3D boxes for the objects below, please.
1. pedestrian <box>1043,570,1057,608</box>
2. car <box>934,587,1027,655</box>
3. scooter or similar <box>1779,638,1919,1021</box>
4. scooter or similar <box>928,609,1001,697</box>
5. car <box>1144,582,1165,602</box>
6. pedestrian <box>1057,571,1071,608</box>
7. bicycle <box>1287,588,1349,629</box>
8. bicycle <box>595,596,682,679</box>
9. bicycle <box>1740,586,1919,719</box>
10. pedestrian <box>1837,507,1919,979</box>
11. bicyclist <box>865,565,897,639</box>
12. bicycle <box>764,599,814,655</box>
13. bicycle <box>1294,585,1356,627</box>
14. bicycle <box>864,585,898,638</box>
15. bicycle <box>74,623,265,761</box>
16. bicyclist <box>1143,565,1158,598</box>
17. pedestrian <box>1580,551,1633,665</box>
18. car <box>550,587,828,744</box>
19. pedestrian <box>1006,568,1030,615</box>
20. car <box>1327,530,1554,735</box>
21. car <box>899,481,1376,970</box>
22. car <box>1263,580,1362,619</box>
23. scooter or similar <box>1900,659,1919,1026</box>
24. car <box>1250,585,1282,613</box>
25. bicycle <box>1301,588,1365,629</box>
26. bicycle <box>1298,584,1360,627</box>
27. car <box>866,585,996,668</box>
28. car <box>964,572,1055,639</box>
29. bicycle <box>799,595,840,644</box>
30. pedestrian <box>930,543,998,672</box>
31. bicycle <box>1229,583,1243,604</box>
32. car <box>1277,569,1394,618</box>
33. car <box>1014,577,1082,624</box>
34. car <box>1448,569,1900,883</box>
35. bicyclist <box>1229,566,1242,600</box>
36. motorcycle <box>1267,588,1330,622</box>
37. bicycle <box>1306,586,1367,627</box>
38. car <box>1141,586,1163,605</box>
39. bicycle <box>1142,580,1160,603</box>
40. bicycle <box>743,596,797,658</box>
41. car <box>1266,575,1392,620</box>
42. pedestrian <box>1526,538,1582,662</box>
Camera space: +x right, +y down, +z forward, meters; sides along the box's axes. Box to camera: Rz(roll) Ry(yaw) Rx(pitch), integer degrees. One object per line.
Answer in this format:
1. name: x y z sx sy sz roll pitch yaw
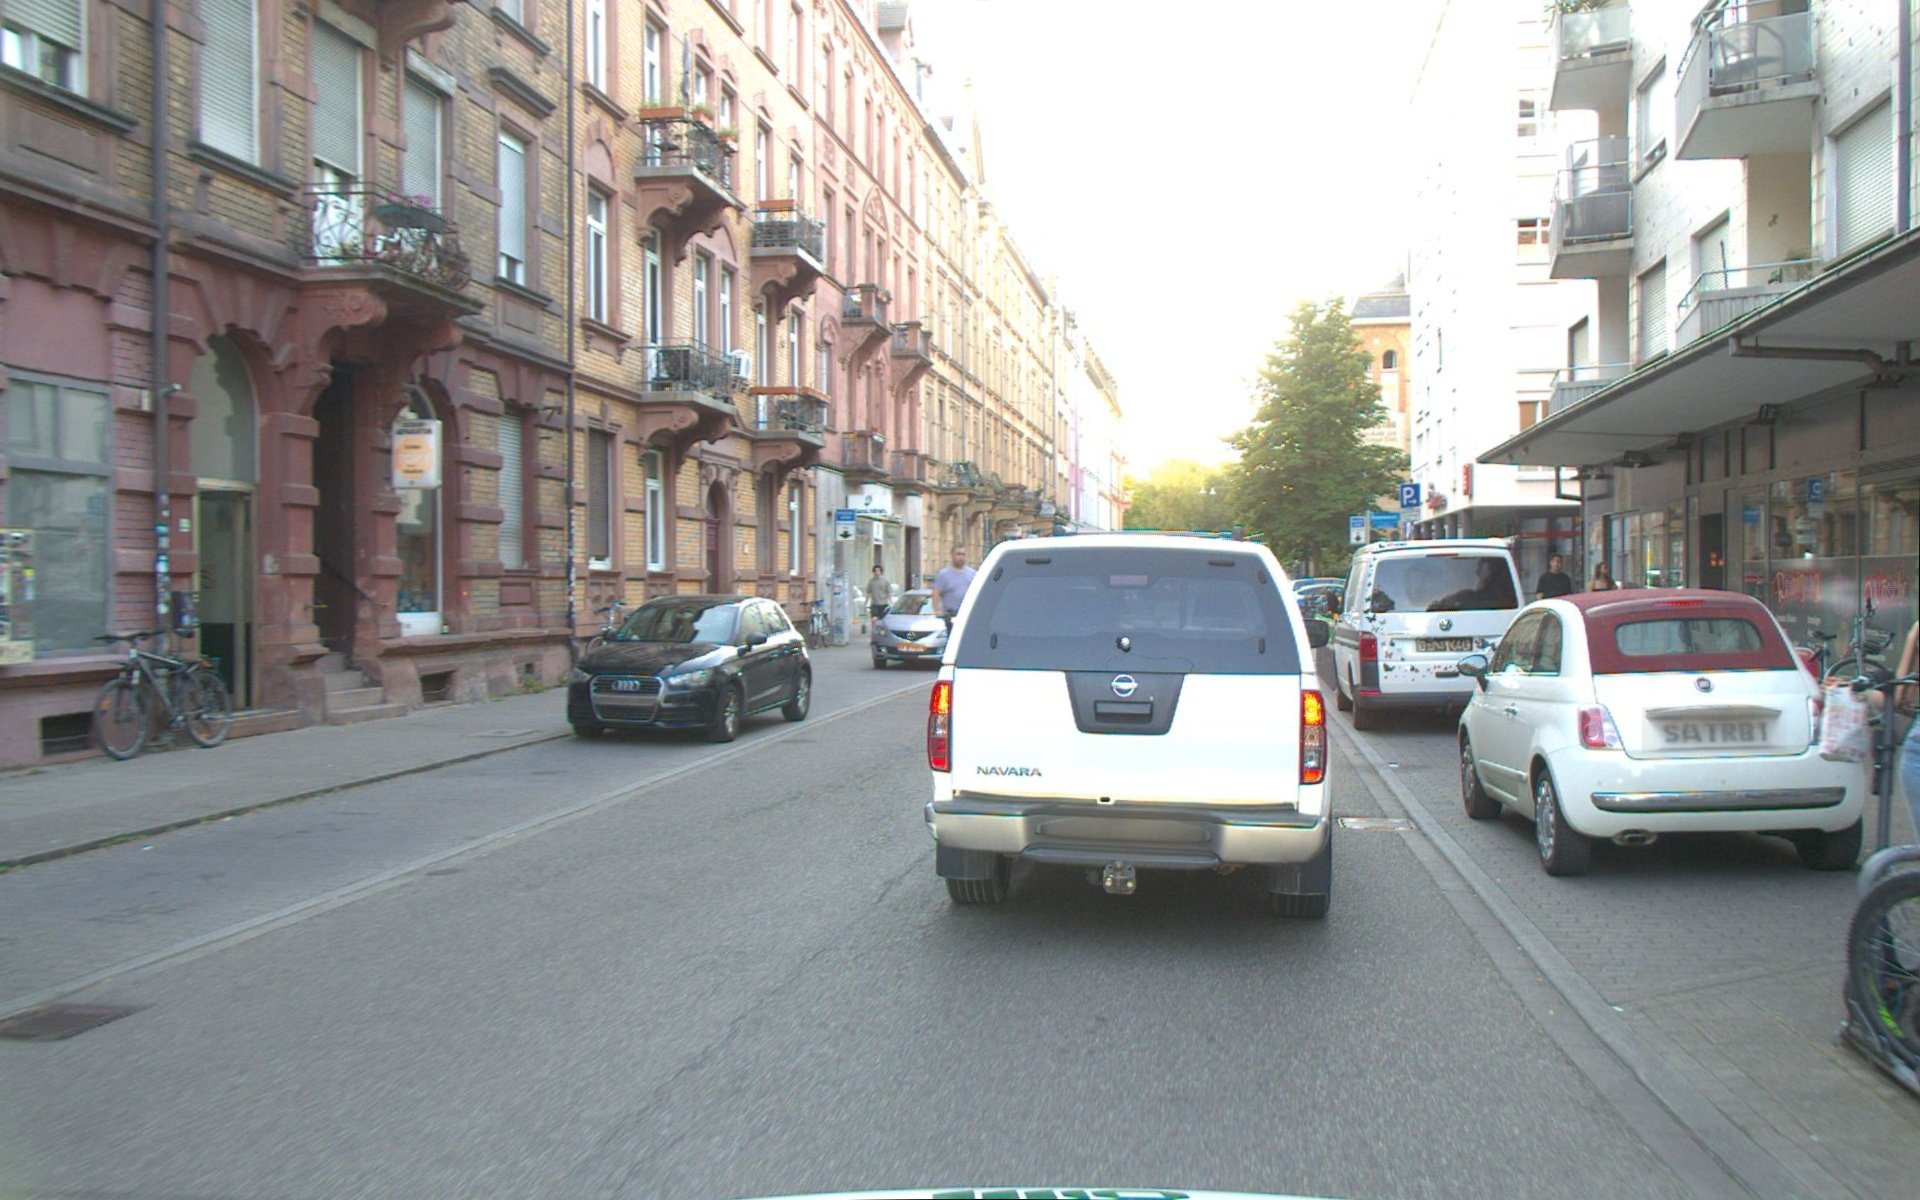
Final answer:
1. pedestrian: 4.495 -0.554 82.407 0.567 1.802 0.998 2 1 5
2. car: 0.524 0.444 38.018 1.551 1.445 3.700 1 1 10
3. scooter or similar: 3.484 0.774 5.988 1.154 1.191 0.529 -3 2 -42
4. scooter or similar: 0.072 0.701 22.271 0.790 1.123 1.173 -1 1 10
5. car: 16.142 -0.680 137.289 1.662 1.579 4.025 1 1 7
6. pedestrian: 5.209 -0.525 82.561 0.592 1.803 0.778 2 1 5
7. bicycle: 10.633 0.250 49.163 1.686 1.137 0.707 -2 -1 8
8. bicycle: -4.910 0.547 25.364 0.516 1.191 2.049 2 1 12
9. bicycle: 8.696 0.497 16.489 0.892 1.216 1.710 -2 0 -4
10. pedestrian: 3.582 0.484 5.831 0.639 1.628 0.586 -2 0 -31
11. bicyclist: -1.899 0.048 39.587 0.694 1.760 0.842 1 -1 -6
12. bicycle: -3.510 0.542 34.105 0.537 1.055 1.761 2 1 10
13. bicycle: 11.672 0.188 52.840 1.829 1.202 0.743 -4 -1 14
14. bicycle: -1.901 0.274 39.556 0.694 1.217 1.739 1 -1 -6
15. bicycle: -6.831 0.760 14.402 0.416 1.071 1.900 0 1 13
16. bicyclist: 9.697 -0.926 84.065 0.631 1.649 0.918 -2 0 1
17. pedestrian: 9.851 0.124 25.203 0.694 1.695 0.744 -2 -1 22
18. car: -2.768 0.610 17.767 1.657 1.445 3.858 1 1 12
19. pedestrian: 2.258 -0.327 64.060 0.543 1.786 1.021 0 -1 26
20. car: 5.399 0.298 19.211 1.917 2.008 5.007 -2 1 10
21. car: 1.123 0.485 9.137 1.870 1.885 5.275 0 0 10
22. car: 14.801 -0.031 69.658 3.902 1.481 1.830 -2 0 7
23. scooter or similar: 3.673 0.783 5.180 1.136 1.191 0.537 -2 2 2
24. car: 17.442 -0.080 94.330 1.640 1.453 4.482 -4 0 10
25. bicycle: 11.235 0.253 49.862 1.770 1.137 0.707 -2 -1 8
26. bicycle: 11.601 0.180 51.996 1.751 1.202 0.734 -4 -1 20
27. car: -0.469 0.463 31.758 1.686 1.445 4.586 1 0 9
28. car: 1.375 0.110 43.808 1.813 1.662 4.450 1 1 9
29. bicycle: -3.169 0.430 37.442 0.439 1.040 1.850 3 1 10
30. pedestrian: 0.062 0.097 22.275 0.790 1.689 0.673 -1 0 10
31. bicycle: 14.708 -0.349 88.209 0.631 1.100 1.834 -2 0 8
32. car: 14.587 -0.249 64.446 4.305 1.676 1.748 -2 0 9
33. car: 2.882 -0.026 53.438 1.720 1.436 4.513 1 1 9
34. car: 4.069 0.625 9.994 1.558 1.527 3.426 -2 0 7
35. bicyclist: 14.708 -0.884 88.290 0.631 1.791 0.648 -2 0 7
36. motorcycle: 11.844 0.186 57.938 2.018 1.097 0.663 -2 0 -6
37. bicycle: 10.978 0.186 48.231 1.685 1.137 0.707 -2 -1 13
38. car: 15.241 -0.355 131.422 1.662 1.451 4.025 1 1 7
39. bicycle: 9.707 -0.431 84.055 0.631 1.100 2.169 -2 0 1
40. bicycle: -3.745 0.517 32.721 0.537 1.143 1.761 2 1 10
41. car: 13.737 -0.097 61.784 4.330 1.480 1.780 -2 0 3
42. pedestrian: 9.213 0.004 25.650 0.694 1.860 0.860 -2 -1 24
